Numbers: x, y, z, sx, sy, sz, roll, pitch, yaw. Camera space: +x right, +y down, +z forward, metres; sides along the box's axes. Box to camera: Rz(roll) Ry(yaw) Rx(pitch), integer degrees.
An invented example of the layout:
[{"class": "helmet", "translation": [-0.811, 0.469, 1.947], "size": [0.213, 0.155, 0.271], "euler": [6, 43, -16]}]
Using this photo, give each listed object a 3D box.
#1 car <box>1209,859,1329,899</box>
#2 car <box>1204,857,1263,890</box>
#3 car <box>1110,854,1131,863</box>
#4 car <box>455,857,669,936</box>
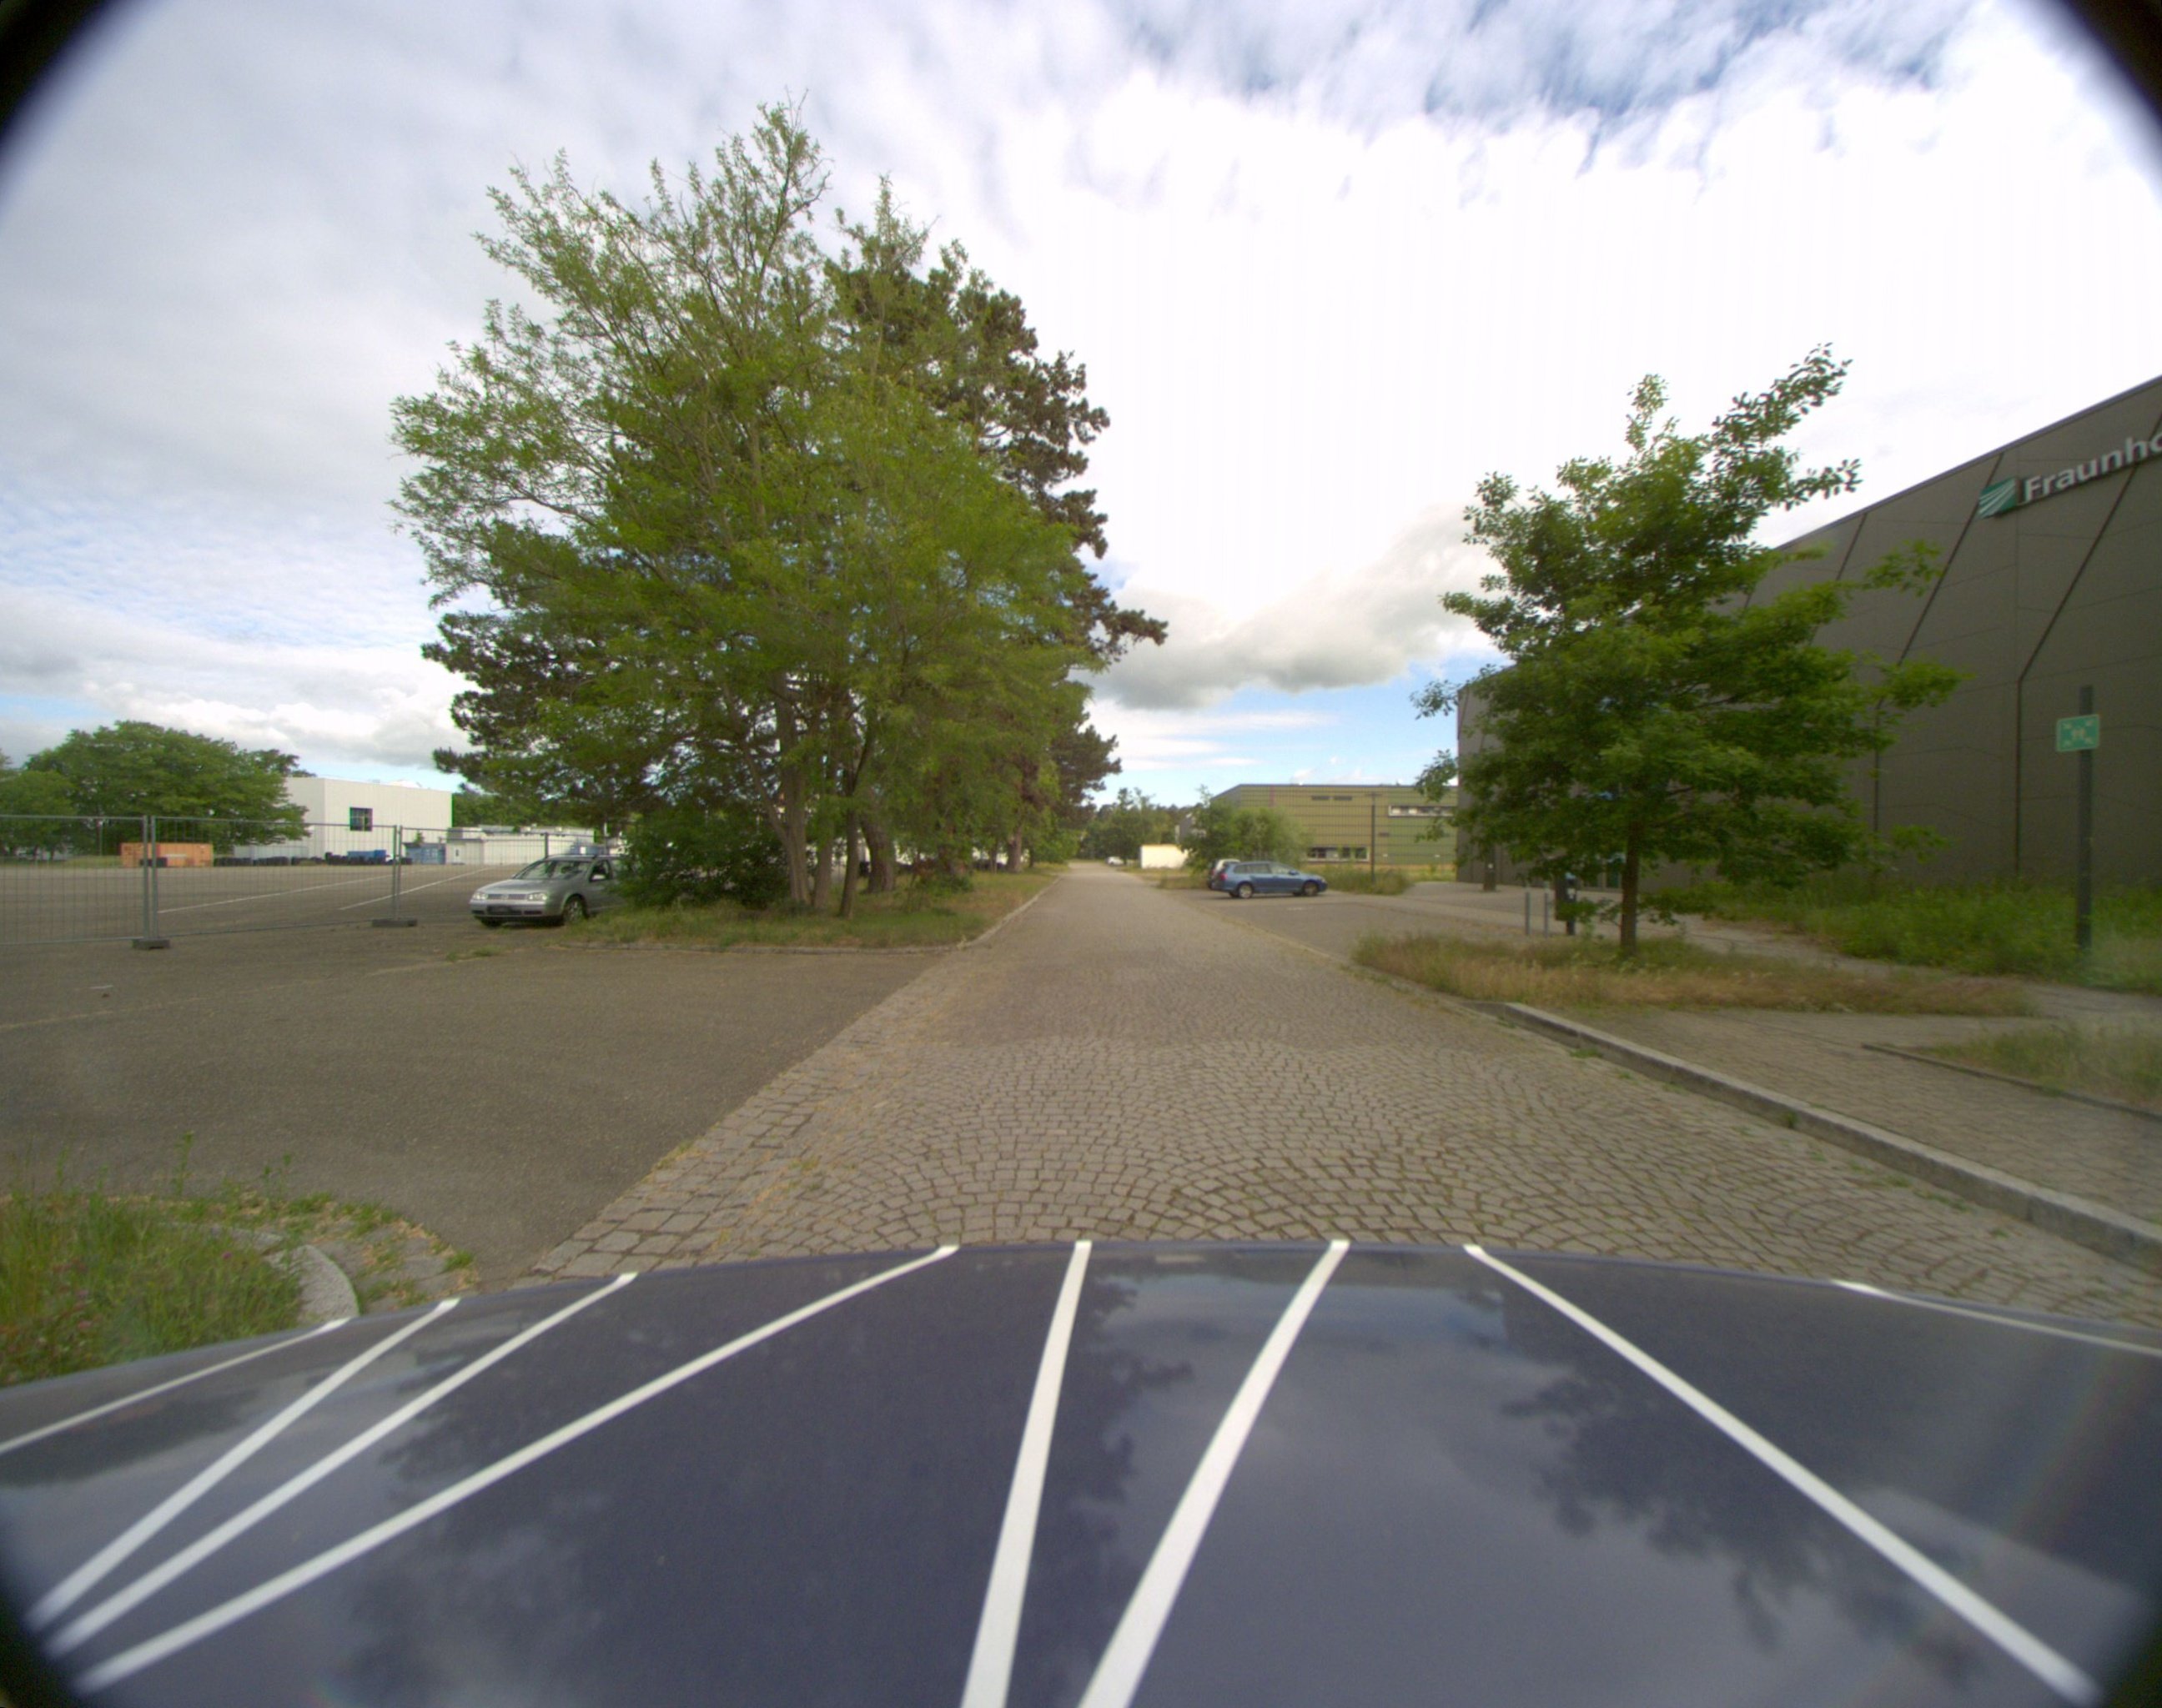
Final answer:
[{"class": "car", "translation": [7.588, 0.995, 30.881], "size": [4.427, 1.461, 1.633], "euler": [-2, 1, -2]}, {"class": "car", "translation": [7.653, 0.949, 38.250], "size": [2.584, 1.521, 1.500], "euler": [-2, 1, -1]}, {"class": "car", "translation": [7.743, 0.933, 150.689], "size": [4.062, 1.767, 1.792], "euler": [0, 1, 0]}, {"class": "car", "translation": [-10.977, 0.806, 16.537], "size": [1.678, 1.442, 4.488], "euler": [0, 0, -2]}]
